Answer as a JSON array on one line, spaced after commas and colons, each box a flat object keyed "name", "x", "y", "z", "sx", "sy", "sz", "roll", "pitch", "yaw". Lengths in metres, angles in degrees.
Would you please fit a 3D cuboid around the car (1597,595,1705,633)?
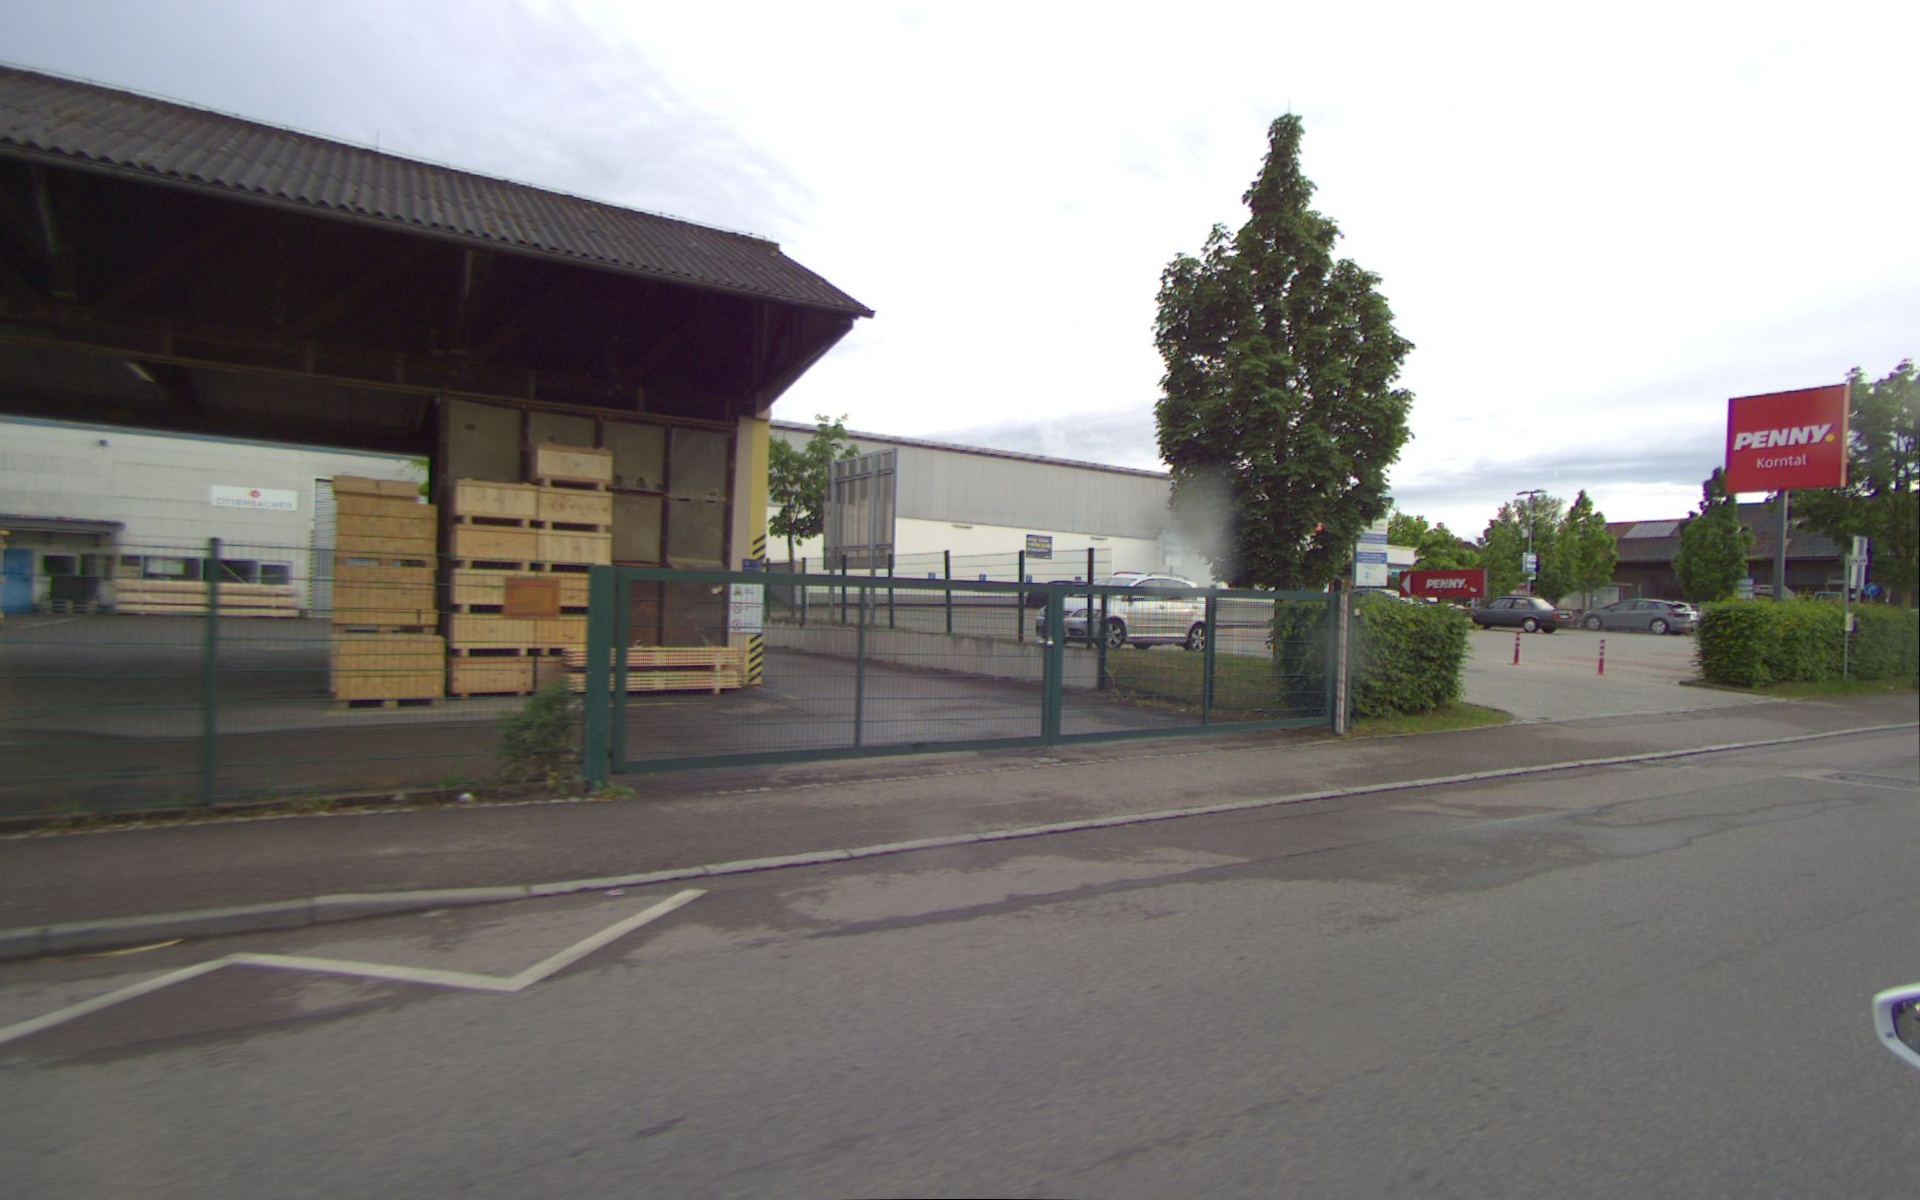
[{"name": "car", "x": 32.748, "y": 0.645, "z": 47.694, "sx": 1.678, "sy": 1.540, "sz": 3.864, "roll": 2, "pitch": 2, "yaw": -35}]

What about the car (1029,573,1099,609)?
[{"name": "car", "x": 5.181, "y": -0.481, "z": 50.405, "sx": 1.640, "sy": 1.628, "sz": 3.708, "roll": 2, "pitch": 1, "yaw": -29}]

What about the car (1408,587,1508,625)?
[{"name": "car", "x": 24.389, "y": 0.264, "z": 49.298, "sx": 1.756, "sy": 1.628, "sz": 3.956, "roll": 2, "pitch": 2, "yaw": -37}]

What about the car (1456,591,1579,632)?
[{"name": "car", "x": 22.574, "y": 0.452, "z": 40.776, "sx": 1.785, "sy": 1.406, "sz": 3.950, "roll": 2, "pitch": 2, "yaw": -35}]

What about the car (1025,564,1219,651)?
[{"name": "car", "x": 3.362, "y": 0.194, "z": 20.495, "sx": 4.010, "sy": 1.608, "sz": 1.632, "roll": 2, "pitch": -1, "yaw": -38}]

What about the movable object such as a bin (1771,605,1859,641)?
[{"name": "movable object such as a bin", "x": 48.657, "y": 1.301, "z": 57.198, "sx": 1.981, "sy": 1.783, "sz": 3.397, "roll": 2, "pitch": 2, "yaw": -37}]

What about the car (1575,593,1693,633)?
[{"name": "car", "x": 30.775, "y": 0.563, "z": 45.955, "sx": 1.867, "sy": 1.572, "sz": 4.027, "roll": 2, "pitch": 2, "yaw": -35}]

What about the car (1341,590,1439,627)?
[{"name": "car", "x": 19.532, "y": 0.365, "z": 45.753, "sx": 1.441, "sy": 1.516, "sz": 3.860, "roll": 0, "pitch": 2, "yaw": -37}]
